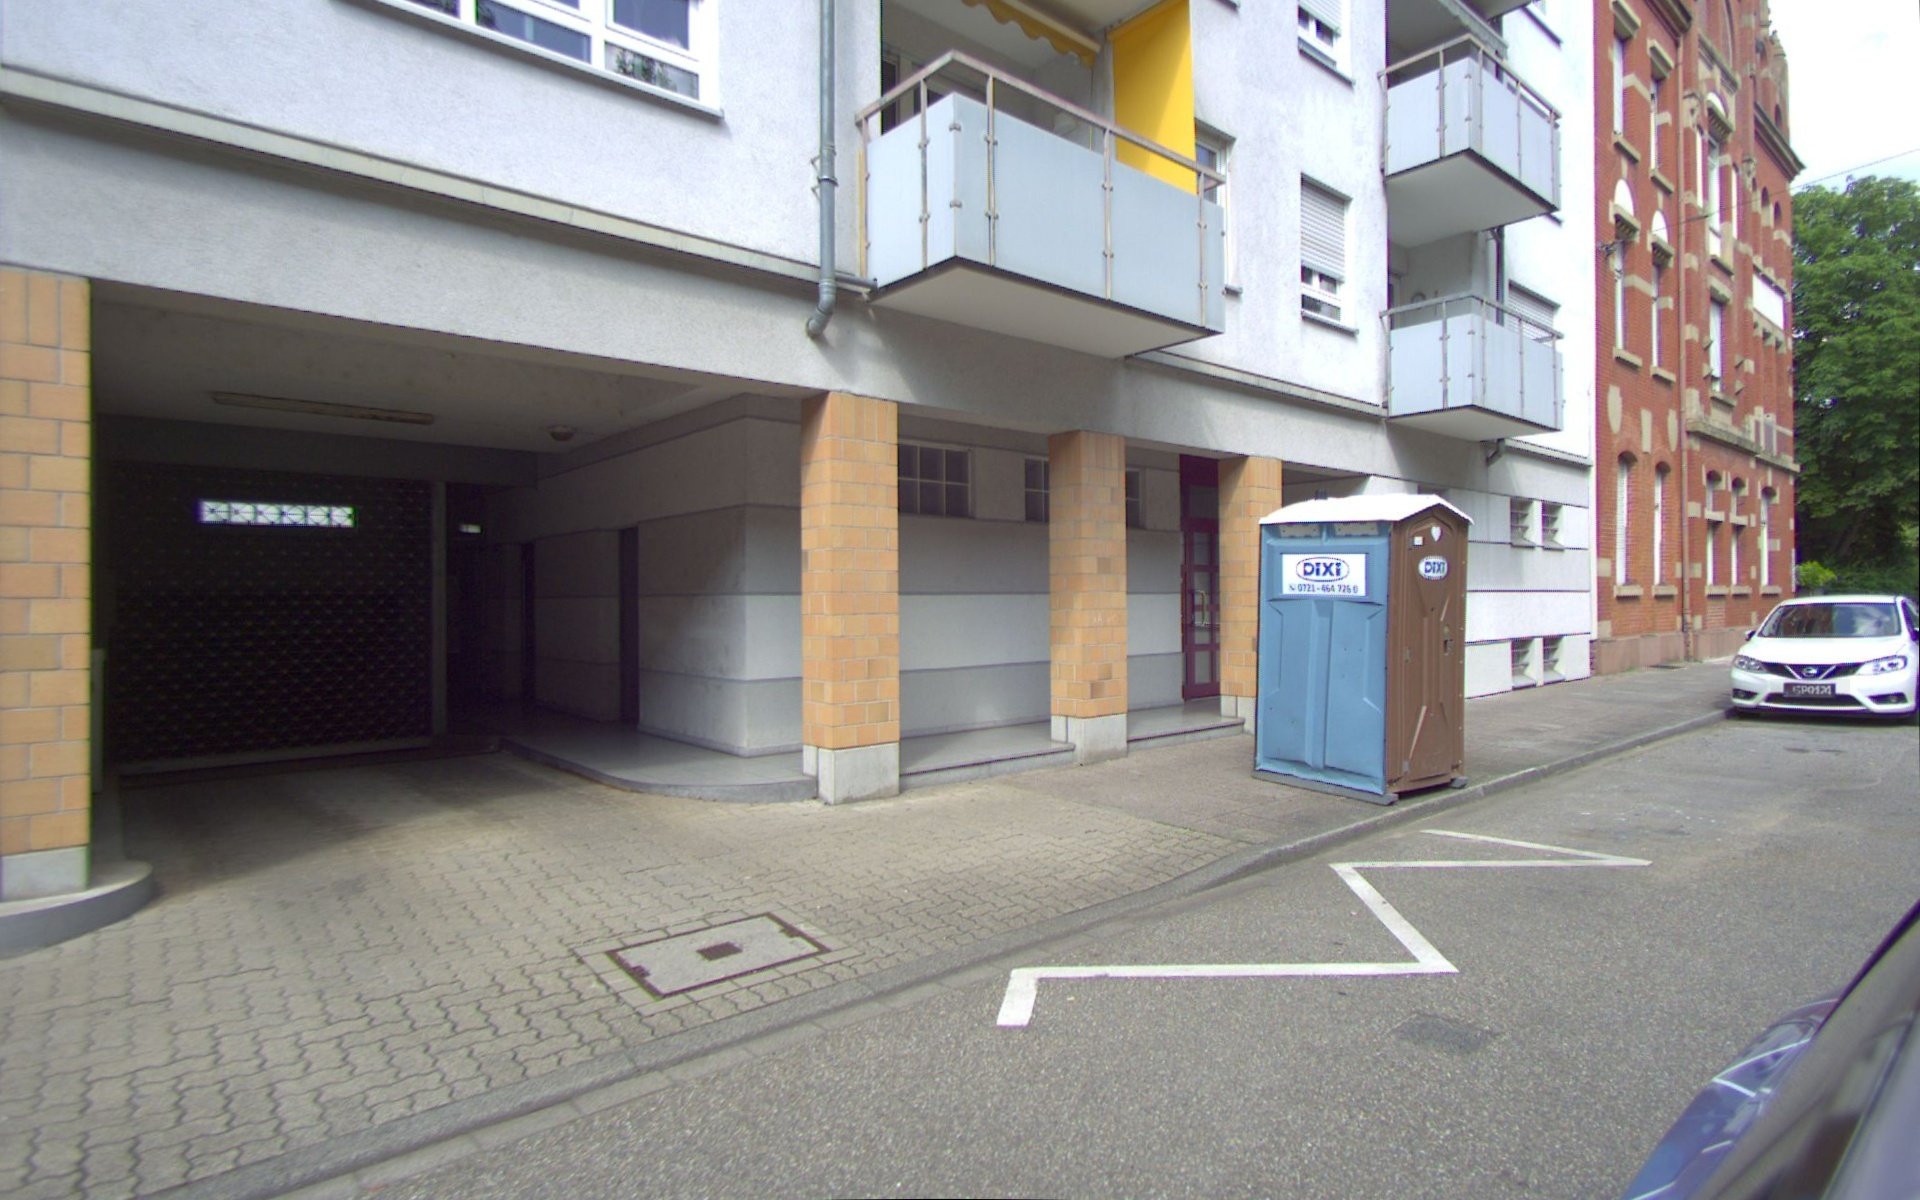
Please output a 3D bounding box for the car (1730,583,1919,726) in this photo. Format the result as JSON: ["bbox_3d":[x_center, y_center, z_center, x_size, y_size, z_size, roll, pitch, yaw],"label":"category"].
[{"bbox_3d":[11.452,0.582,12.901,3.970,1.549,1.799,-1,-1,-41],"label":"car"}]
